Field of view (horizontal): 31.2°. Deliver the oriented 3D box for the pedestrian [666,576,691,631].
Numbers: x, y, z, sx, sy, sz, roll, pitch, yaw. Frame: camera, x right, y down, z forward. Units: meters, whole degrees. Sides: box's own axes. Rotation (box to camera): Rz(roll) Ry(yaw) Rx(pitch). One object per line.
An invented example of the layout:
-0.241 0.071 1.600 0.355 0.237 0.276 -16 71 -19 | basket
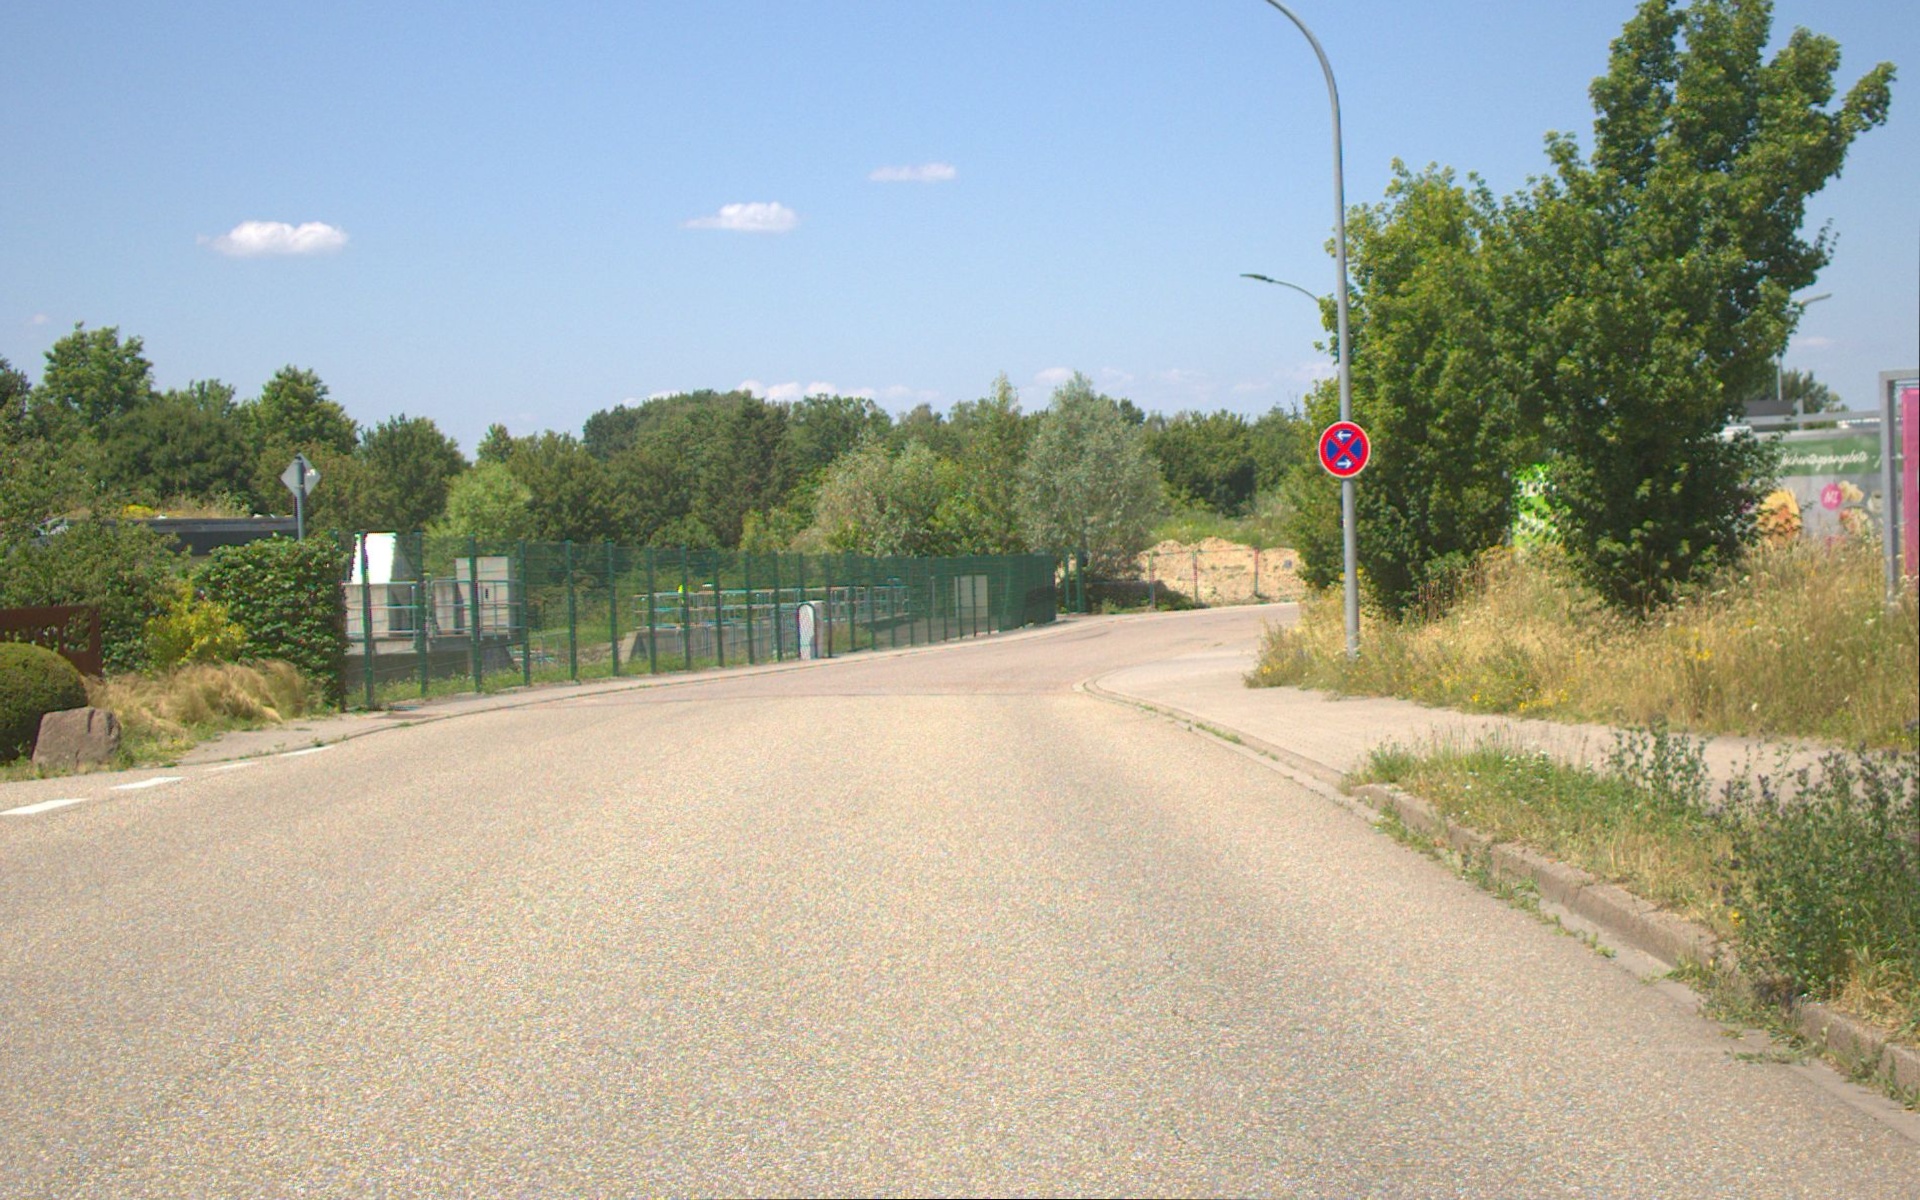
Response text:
-9.564 0.112 116.792 0.606 1.833 0.804 -2 0 7 | pedestrian
